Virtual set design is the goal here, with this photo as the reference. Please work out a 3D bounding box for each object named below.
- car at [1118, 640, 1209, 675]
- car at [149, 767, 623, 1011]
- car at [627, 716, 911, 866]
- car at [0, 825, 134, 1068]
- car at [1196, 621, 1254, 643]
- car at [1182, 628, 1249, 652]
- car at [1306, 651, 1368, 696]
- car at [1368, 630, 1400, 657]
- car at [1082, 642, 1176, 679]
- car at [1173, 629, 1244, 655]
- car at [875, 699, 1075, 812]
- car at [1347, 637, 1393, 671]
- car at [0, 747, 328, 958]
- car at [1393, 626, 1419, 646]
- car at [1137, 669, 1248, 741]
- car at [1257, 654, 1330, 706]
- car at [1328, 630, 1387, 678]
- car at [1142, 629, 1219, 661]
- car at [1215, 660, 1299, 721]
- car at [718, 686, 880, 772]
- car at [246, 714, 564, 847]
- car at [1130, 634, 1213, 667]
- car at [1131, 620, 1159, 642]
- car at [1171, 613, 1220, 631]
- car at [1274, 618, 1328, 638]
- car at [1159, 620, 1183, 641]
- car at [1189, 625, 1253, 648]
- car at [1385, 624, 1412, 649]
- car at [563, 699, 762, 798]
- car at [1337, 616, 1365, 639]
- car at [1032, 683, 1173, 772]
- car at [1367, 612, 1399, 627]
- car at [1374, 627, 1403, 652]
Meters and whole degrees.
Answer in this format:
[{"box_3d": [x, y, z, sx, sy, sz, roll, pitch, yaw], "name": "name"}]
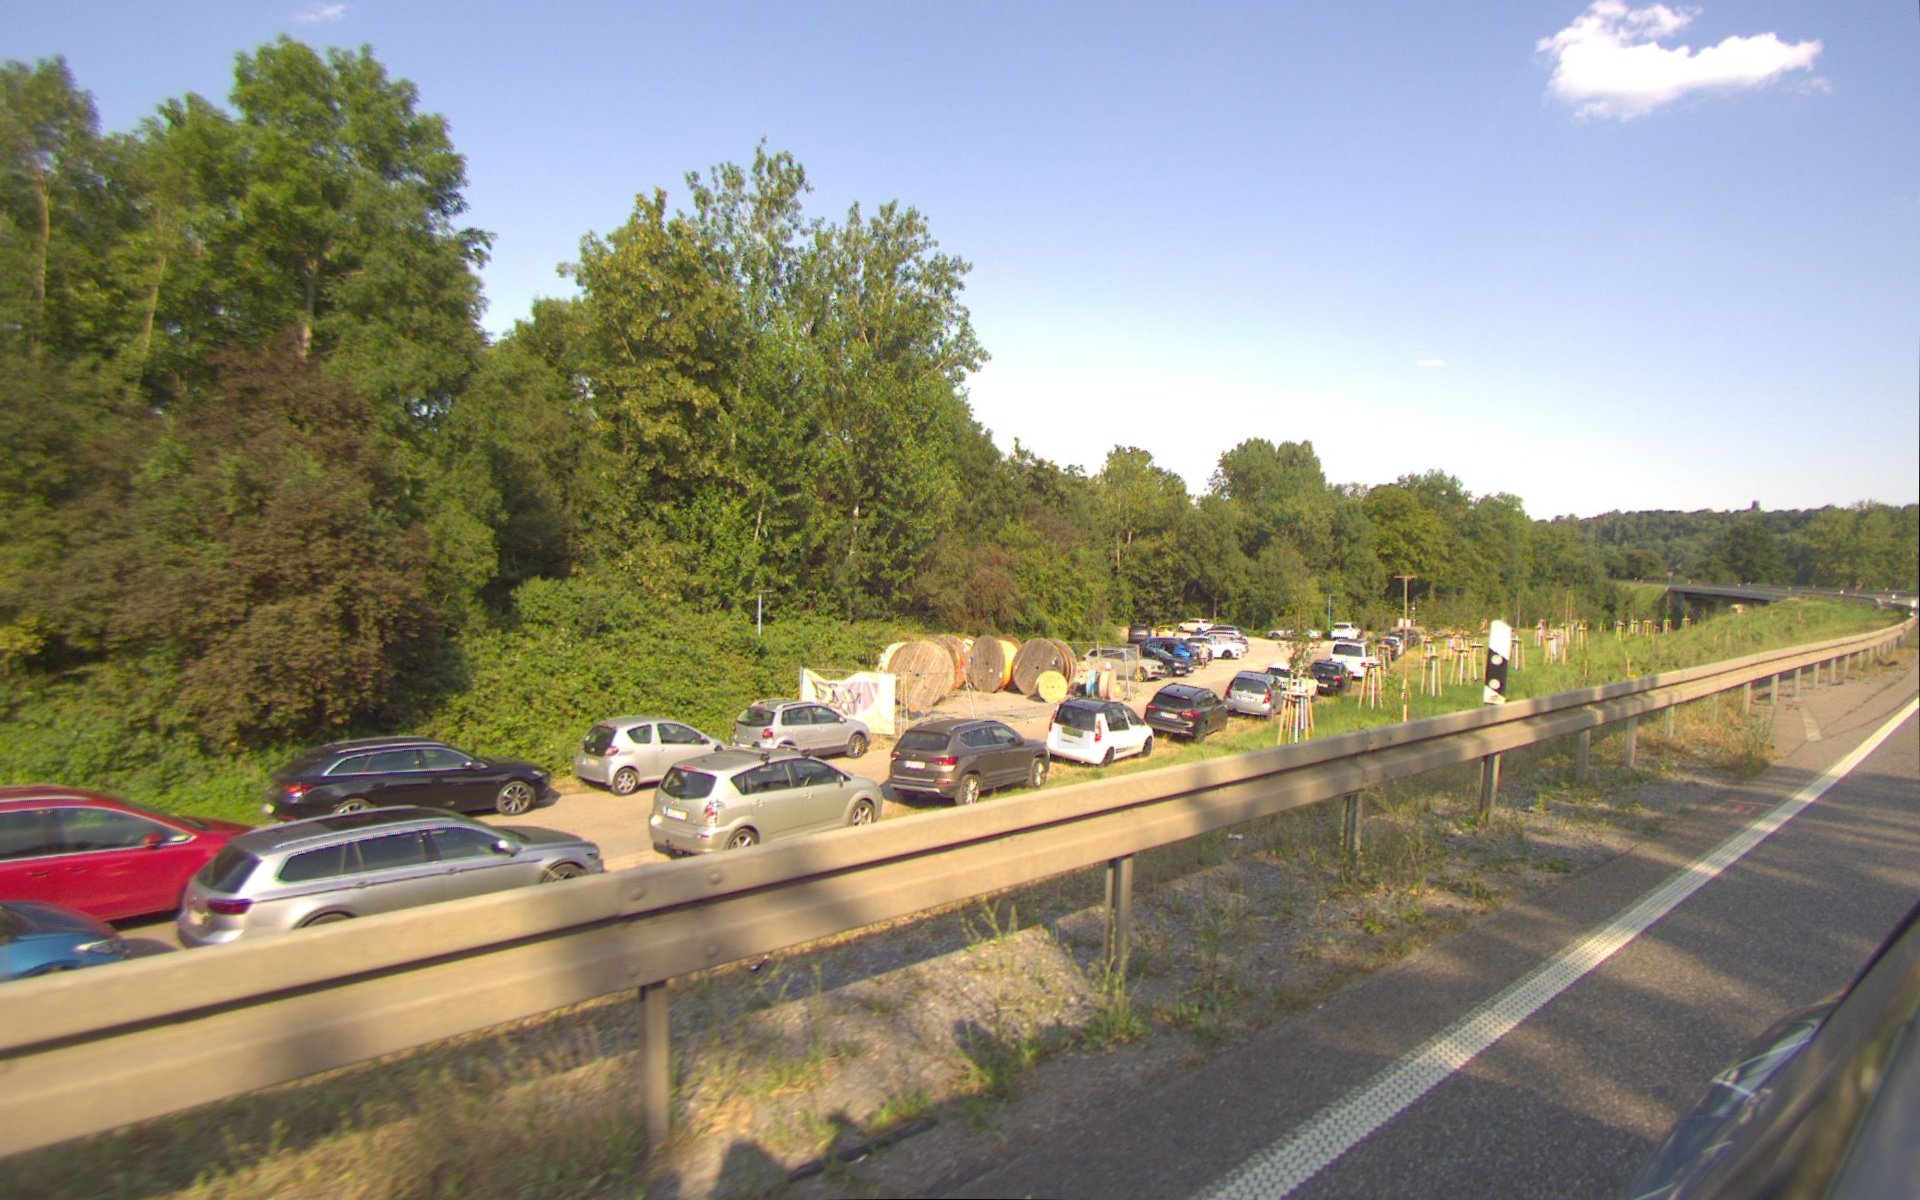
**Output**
[{"box_3d": [10.293, 2.881, 51.460, 4.234, 1.509, 1.804, 1, -1, 44], "name": "car"}, {"box_3d": [-6.835, 3.288, 12.512, 1.891, 1.578, 4.710, 6, 3, 41], "name": "car"}, {"box_3d": [-3.093, 3.086, 17.333, 1.888, 1.579, 4.716, 0, 1, 39], "name": "car"}, {"box_3d": [-9.935, 3.202, 8.171, 1.888, 1.578, 4.720, 5, 3, 36], "name": "car"}, {"box_3d": [20.601, 2.482, 78.622, 4.199, 1.474, 1.605, 2, 1, 23], "name": "car"}, {"box_3d": [17.095, 2.654, 67.690, 4.199, 1.474, 1.605, 0, 1, 23], "name": "car"}, {"box_3d": [17.073, 3.264, 45.681, 1.882, 1.500, 4.734, 5, 2, 28], "name": "car"}, {"box_3d": [28.825, 2.919, 68.776, 1.805, 1.500, 4.358, 3, 2, 24], "name": "car"}, {"box_3d": [8.256, 2.922, 49.479, 4.210, 1.508, 1.815, 0, 1, 30], "name": "car"}, {"box_3d": [16.018, 2.714, 65.260, 4.200, 1.517, 1.757, 0, 0, 24], "name": "car"}, {"box_3d": [0.445, 3.167, 21.565, 1.887, 1.579, 4.719, 0, 1, 37], "name": "car"}, {"box_3d": [23.673, 3.074, 58.316, 1.882, 1.500, 4.734, 5, 2, 28], "name": "car"}, {"box_3d": [-10.672, 2.983, 12.024, 1.889, 1.708, 5.014, 3, 1, 39], "name": "car"}, {"box_3d": [36.831, 2.936, 83.549, 1.805, 1.418, 4.221, 3, 2, 24], "name": "car"}, {"box_3d": [7.305, 3.176, 31.449, 1.884, 1.578, 4.728, 5, 2, 31], "name": "car"}, {"box_3d": [13.547, 3.170, 40.941, 1.882, 1.578, 4.734, 5, 2, 28], "name": "car"}, {"box_3d": [21.000, 2.780, 53.344, 2.108, 2.042, 5.325, 5, 2, 28], "name": "car"}, {"box_3d": [13.143, 2.658, 60.345, 4.200, 1.764, 1.819, 0, 0, 24], "name": "car"}, {"box_3d": [10.738, 3.162, 36.350, 1.882, 1.578, 4.734, 5, 2, 28], "name": "car"}, {"box_3d": [-3.957, 3.144, 25.336, 1.698, 1.528, 3.890, 2, 2, 39], "name": "car"}, {"box_3d": [-9.775, 3.088, 18.138, 1.702, 1.415, 4.709, 5, 4, 44], "name": "car"}, {"box_3d": [11.836, 2.806, 56.725, 4.208, 1.624, 1.815, 0, 1, 29], "name": "car"}, {"box_3d": [14.486, 2.384, 79.136, 1.596, 1.474, 4.223, 2, 1, 17], "name": "car"}, {"box_3d": [22.237, 2.073, 95.728, 4.220, 1.474, 1.691, 2, 1, 35], "name": "car"}, {"box_3d": [29.571, 2.442, 87.739, 4.210, 1.474, 1.601, 3, 1, 29], "name": "car"}, {"box_3d": [16.877, 2.391, 80.988, 1.479, 1.474, 3.655, 2, 1, 17], "name": "car"}, {"box_3d": [18.867, 2.617, 73.167, 4.360, 1.474, 1.724, 1, 0, 20], "name": "car"}, {"box_3d": [34.277, 2.822, 79.012, 1.805, 1.679, 4.221, 3, 1, 24], "name": "car"}, {"box_3d": [-6.450, 3.169, 22.222, 1.700, 1.415, 3.887, 5, 4, 41], "name": "car"}, {"box_3d": [35.238, 2.447, 91.140, 1.646, 1.687, 4.661, 2, 2, 29], "name": "car"}, {"box_3d": [3.873, 3.252, 26.706, 1.884, 1.578, 4.728, 5, 2, 31], "name": "car"}, {"box_3d": [48.884, 2.286, 117.026, 1.625, 1.515, 3.693, 0, 2, -13], "name": "car"}, {"box_3d": [31.097, 2.863, 73.356, 1.805, 1.500, 4.221, 3, 2, 24], "name": "car"}]
